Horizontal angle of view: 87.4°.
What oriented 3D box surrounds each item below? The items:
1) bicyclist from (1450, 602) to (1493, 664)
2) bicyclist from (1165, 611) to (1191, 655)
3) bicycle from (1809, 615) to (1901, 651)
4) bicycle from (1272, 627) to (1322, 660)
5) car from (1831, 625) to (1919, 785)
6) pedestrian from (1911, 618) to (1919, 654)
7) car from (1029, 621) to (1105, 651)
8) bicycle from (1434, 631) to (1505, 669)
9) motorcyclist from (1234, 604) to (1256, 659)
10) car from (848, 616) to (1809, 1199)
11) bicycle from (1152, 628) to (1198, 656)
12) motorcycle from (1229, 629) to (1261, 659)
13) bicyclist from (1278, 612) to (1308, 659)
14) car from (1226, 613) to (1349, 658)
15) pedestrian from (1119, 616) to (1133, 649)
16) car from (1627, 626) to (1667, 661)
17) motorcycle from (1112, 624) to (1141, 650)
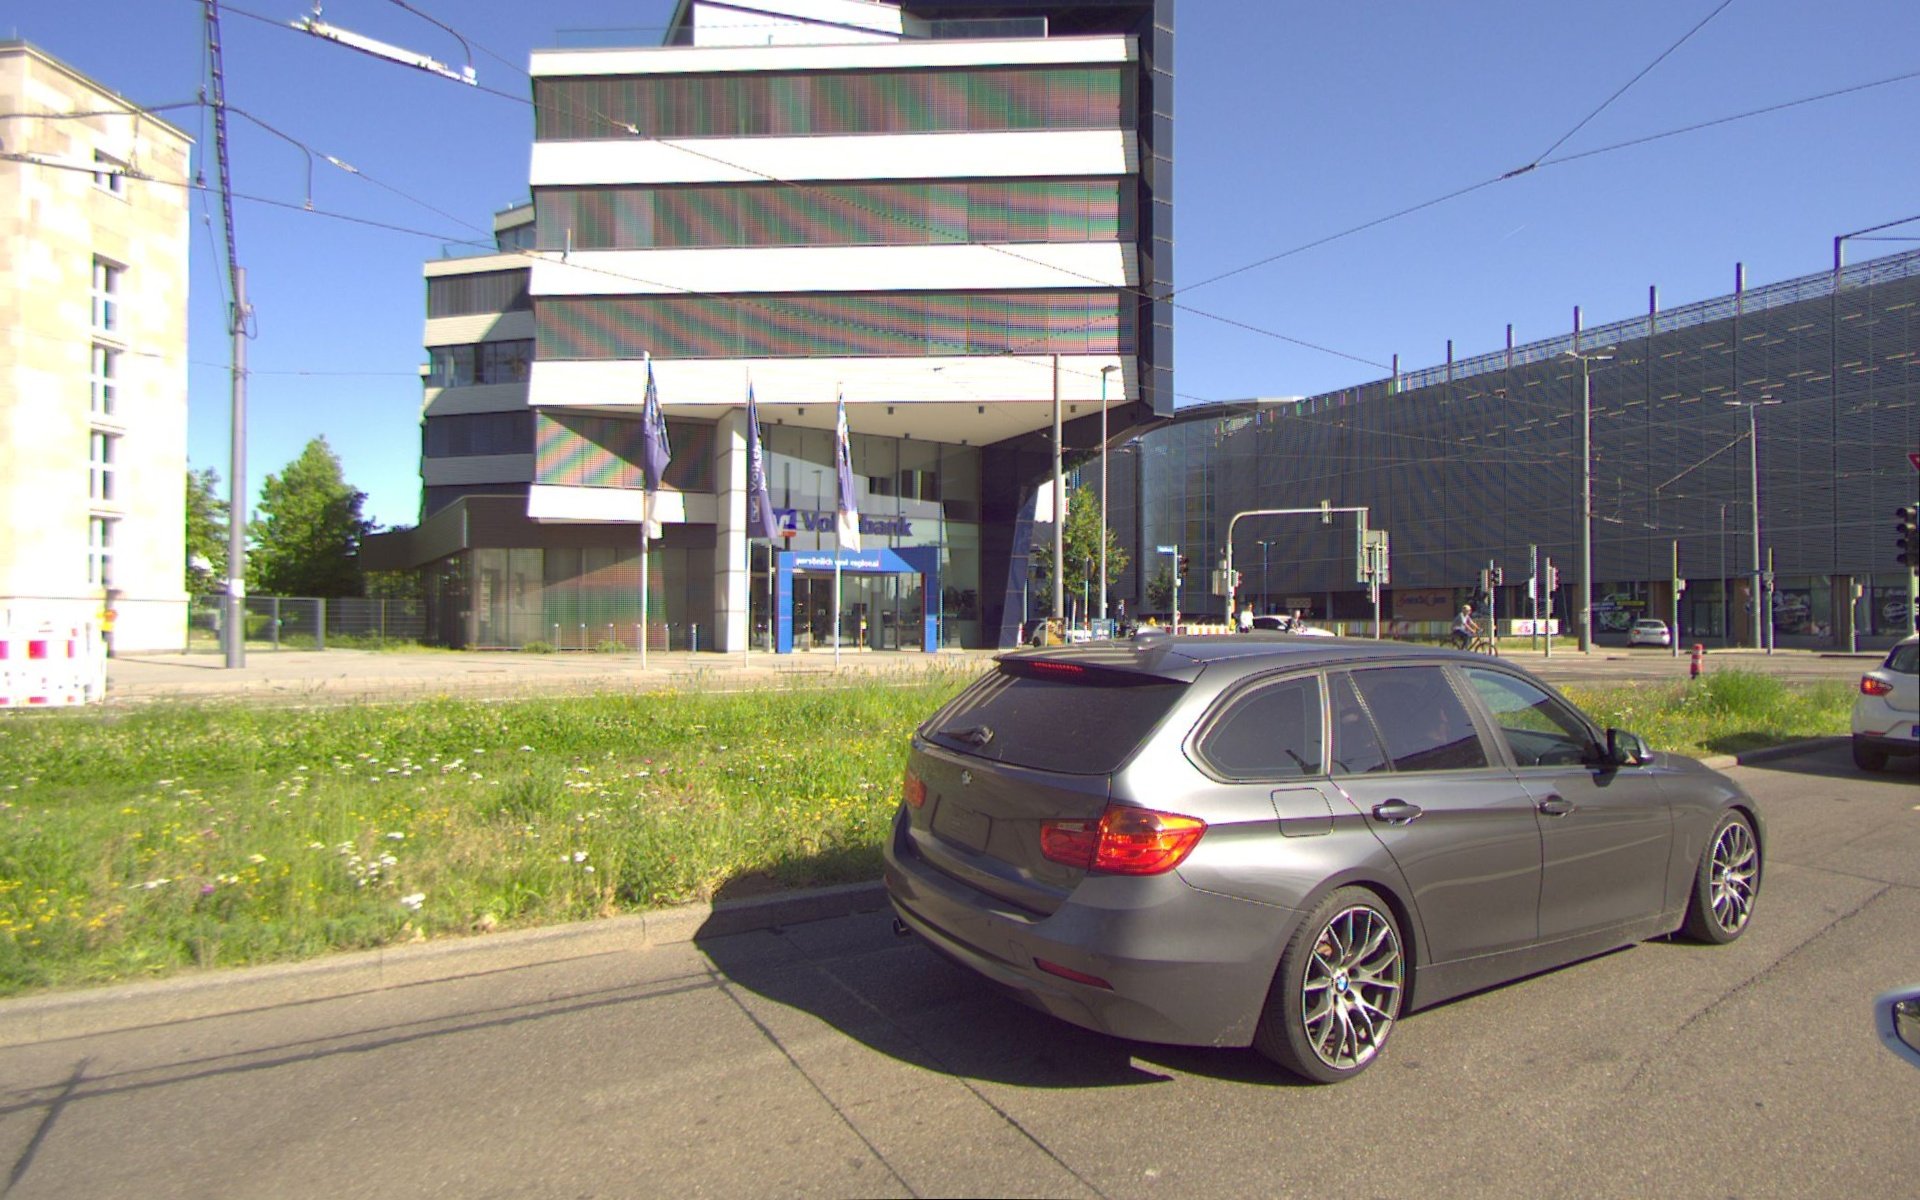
[{"bbox_3d":[15.909,1.016,31.228,0.845,1.884,0.897,1,-1,-32],"label":"bicyclist"},{"bbox_3d":[8.996,1.354,41.453,0.756,1.812,0.758,1,-1,-36],"label":"bicyclist"},{"bbox_3d":[54.459,1.989,61.192,1.315,2.040,3.966,0,0,-32],"label":"bicycle"},{"bbox_3d":[12.042,1.549,35.967,0.727,1.122,1.566,1,0,-35],"label":"bicycle"},{"bbox_3d":[10.533,1.023,10.144,3.741,1.442,1.622,1,1,-33],"label":"car"},{"bbox_3d":[51.408,1.906,53.442,0.804,1.893,0.906,0,-1,10],"label":"pedestrian"},{"bbox_3d":[5.481,1.829,51.854,1.891,1.483,4.056,1,-1,-31],"label":"car"},{"bbox_3d":[15.850,1.545,31.293,0.844,1.131,1.819,1,-1,-32],"label":"bicycle"},{"bbox_3d":[10.790,1.195,38.038,0.492,2.040,0.624,1,-1,-32],"label":"motorcyclist"},{"bbox_3d":[1.876,0.849,4.506,4.420,1.442,1.724,1,1,-33],"label":"car"},{"bbox_3d":[8.880,1.731,41.602,0.687,1.050,1.913,1,1,-34],"label":"bicycle"},{"bbox_3d":[10.782,1.655,38.037,0.478,1.136,1.179,1,-1,-32],"label":"motorcycle"},{"bbox_3d":[11.958,1.277,36.035,0.683,1.670,0.777,1,-1,-34],"label":"bicyclist"},{"bbox_3d":[12.864,1.363,39.745,1.821,1.656,4.460,0,-1,-35],"label":"car"},{"bbox_3d":[8.567,1.661,51.886,0.365,1.690,0.682,1,-1,-33],"label":"pedestrian"},{"bbox_3d":[38.059,2.359,55.683,1.729,1.818,3.988,2,0,34],"label":"car"},{"bbox_3d":[8.577,1.890,51.913,0.593,1.315,1.600,1,-1,-31],"label":"motorcycle"}]
